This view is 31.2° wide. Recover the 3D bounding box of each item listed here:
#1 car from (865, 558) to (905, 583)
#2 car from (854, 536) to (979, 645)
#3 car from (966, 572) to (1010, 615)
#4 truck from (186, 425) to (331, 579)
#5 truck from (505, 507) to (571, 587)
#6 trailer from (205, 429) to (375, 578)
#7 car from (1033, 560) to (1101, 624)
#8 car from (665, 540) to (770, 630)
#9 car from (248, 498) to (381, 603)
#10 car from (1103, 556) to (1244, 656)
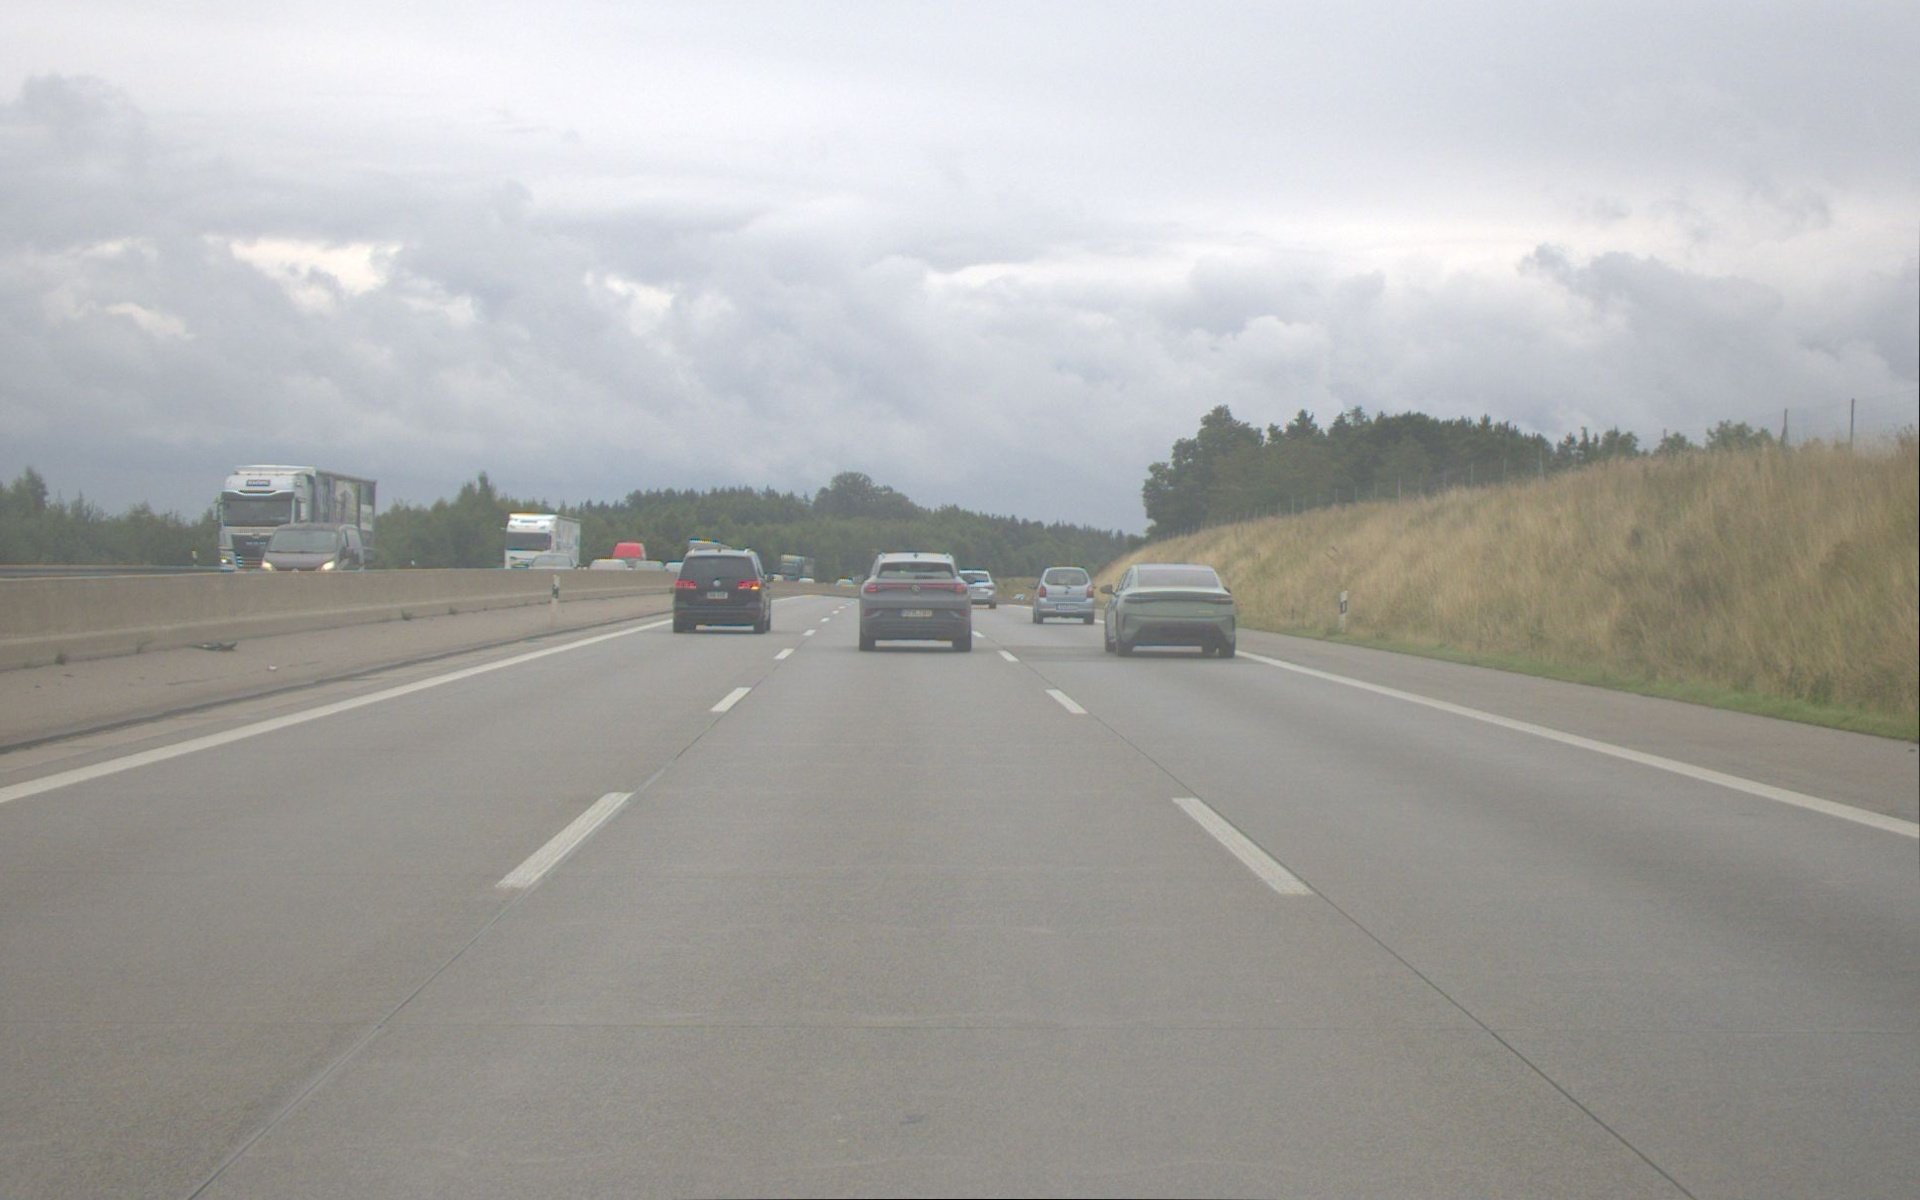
[{"bbox_3d":[-3.976,-1.567,182.523,1.798,1.217,4.000,1,1,3],"label":"car"},{"bbox_3d":[-0.777,-0.203,57.365,1.898,1.684,5.267,1,1,-2],"label":"car"},{"bbox_3d":[1.049,-0.268,131.016,1.485,1.465,3.505,4,1,-1],"label":"car"},{"bbox_3d":[-22.637,-3.152,111.294,3.587,4.802,5.869,1,1,-2],"label":"truck"},{"bbox_3d":[-23.187,-2.965,189.209,2.883,4.276,7.137,1,1,-2],"label":"truck"},{"bbox_3d":[-22.830,-3.283,117.996,3.598,4.783,12.909,1,1,-2],"label":"trailer"},{"bbox_3d":[2.709,-0.221,87.877,1.485,1.465,3.505,4,1,-1],"label":"car"},{"bbox_3d":[-4.921,-0.335,70.210,1.785,1.741,3.915,1,1,1],"label":"car"},{"bbox_3d":[-13.794,-1.077,73.733,1.993,2.139,4.864,1,1,-1],"label":"car"},{"bbox_3d":[3.366,0.064,55.010,2.014,1.441,4.745,1,1,1],"label":"car"}]
